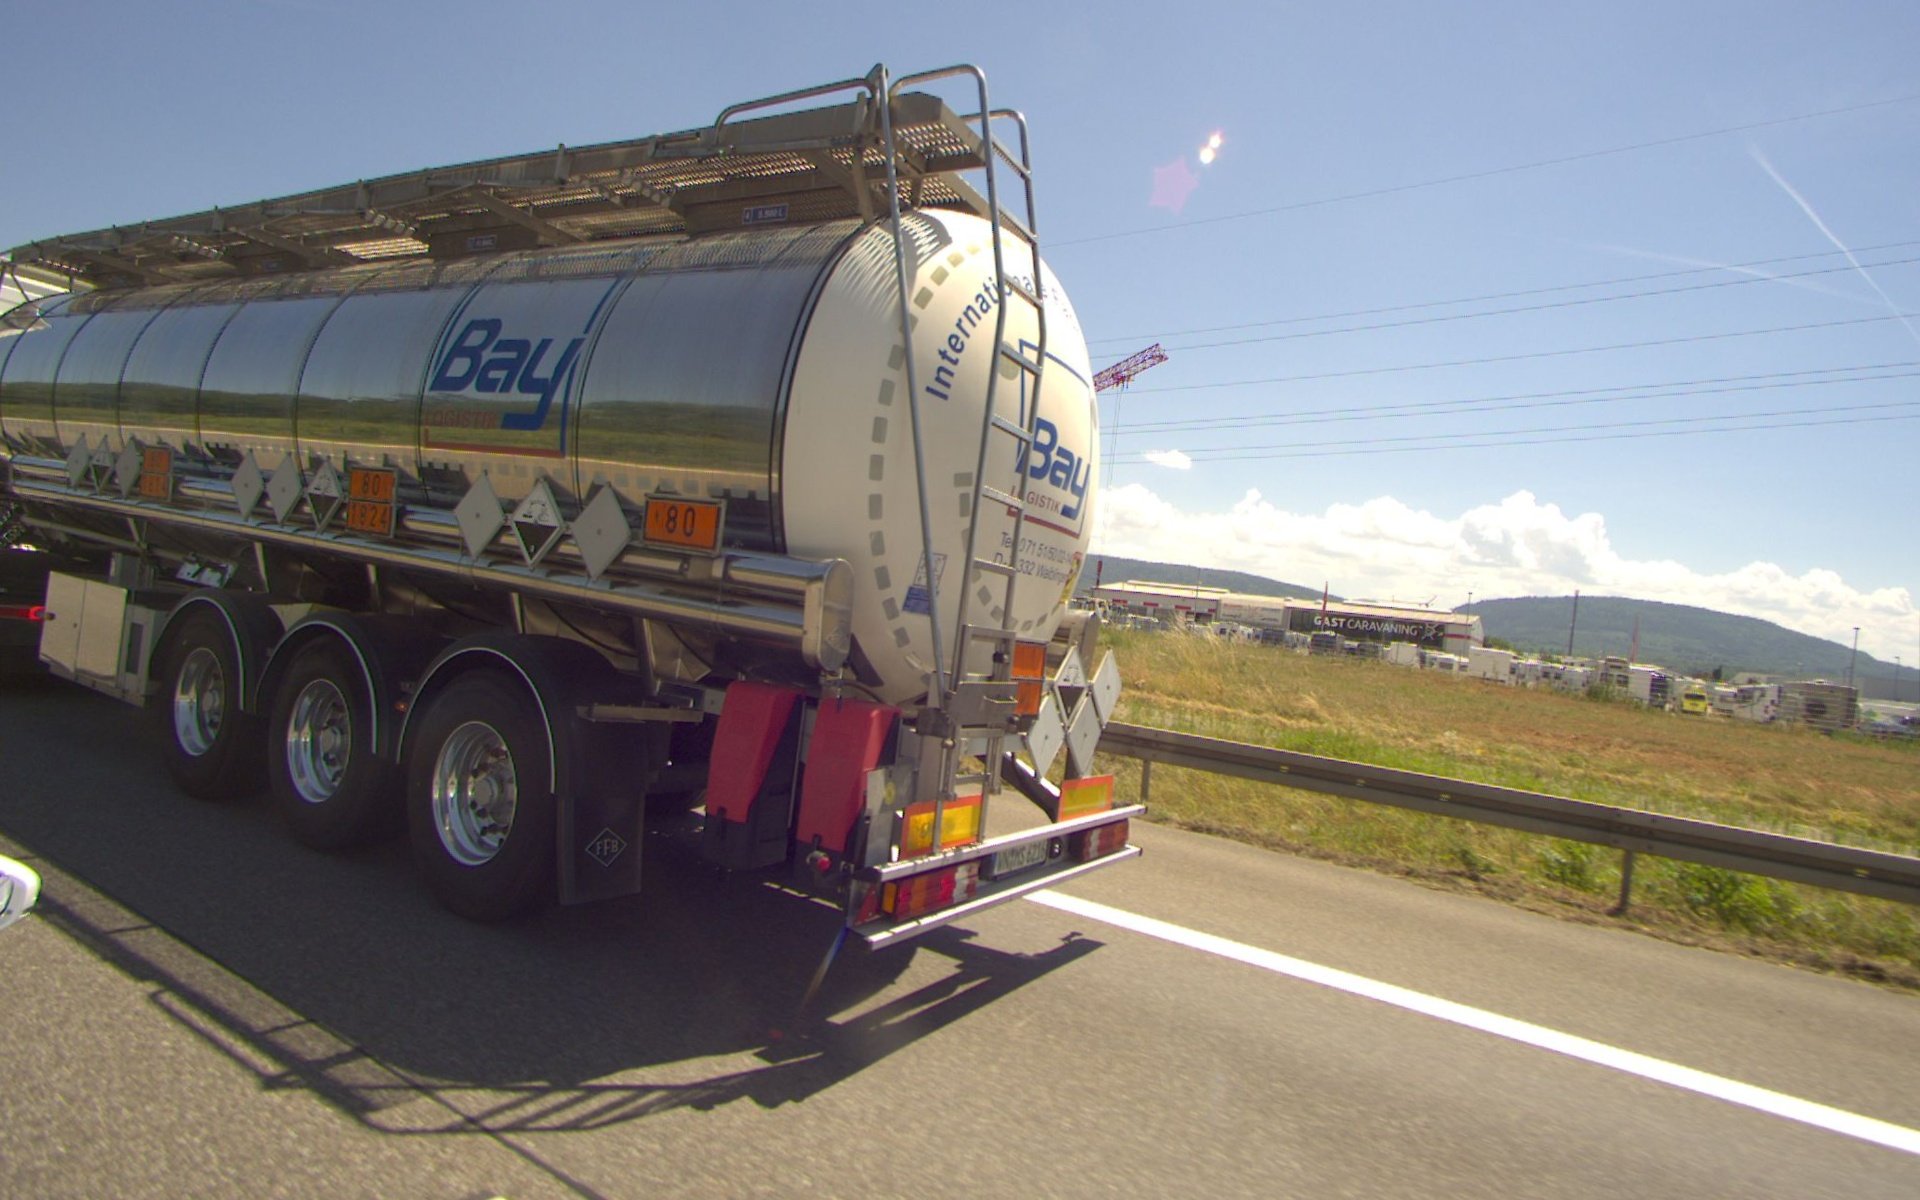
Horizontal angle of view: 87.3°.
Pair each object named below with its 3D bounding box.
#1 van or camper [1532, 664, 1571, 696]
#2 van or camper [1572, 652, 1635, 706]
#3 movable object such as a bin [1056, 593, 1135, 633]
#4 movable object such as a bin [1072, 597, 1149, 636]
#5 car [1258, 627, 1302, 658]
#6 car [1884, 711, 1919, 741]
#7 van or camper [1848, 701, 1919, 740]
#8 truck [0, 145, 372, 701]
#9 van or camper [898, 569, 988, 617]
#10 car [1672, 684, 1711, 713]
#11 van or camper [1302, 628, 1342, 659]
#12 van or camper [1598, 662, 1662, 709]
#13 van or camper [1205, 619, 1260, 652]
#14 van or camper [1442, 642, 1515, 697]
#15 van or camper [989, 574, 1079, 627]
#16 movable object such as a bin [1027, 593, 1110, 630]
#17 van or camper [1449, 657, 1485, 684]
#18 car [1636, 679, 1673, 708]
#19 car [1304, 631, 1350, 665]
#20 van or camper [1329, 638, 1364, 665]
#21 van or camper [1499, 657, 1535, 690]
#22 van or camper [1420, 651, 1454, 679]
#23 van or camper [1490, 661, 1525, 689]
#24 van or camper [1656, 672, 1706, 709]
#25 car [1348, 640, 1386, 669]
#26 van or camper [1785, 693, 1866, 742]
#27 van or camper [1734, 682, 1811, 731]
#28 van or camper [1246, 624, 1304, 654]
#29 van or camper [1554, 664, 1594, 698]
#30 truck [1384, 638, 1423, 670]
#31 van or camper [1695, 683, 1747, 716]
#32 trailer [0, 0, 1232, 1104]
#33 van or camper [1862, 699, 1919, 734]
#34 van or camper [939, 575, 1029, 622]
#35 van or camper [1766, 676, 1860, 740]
[{"bbox_3d":[51.144,6.864,87.024,2.336,2.322,5.267,7,0,27],"label":"van or camper"},{"bbox_3d":[37.682,4.603,59.045,2.572,2.711,5.264,7,0,30],"label":"van or camper"},{"bbox_3d":[12.987,1.245,96.488,6.695,3.068,2.914,6,1,32],"label":"movable object such as a bin"},{"bbox_3d":[14.922,1.638,99.764,6.695,3.068,2.914,6,1,32],"label":"movable object such as a bin"},{"bbox_3d":[26.613,3.551,83.560,2.209,2.272,4.902,7,0,31],"label":"car"},{"bbox_3d":[76.630,10.222,81.008,2.110,2.039,4.276,7,0,28],"label":"car"},{"bbox_3d":[87.823,11.386,94.517,2.464,2.776,5.939,6,0,-14],"label":"van or camper"},{"bbox_3d":[-9.241,-1.515,10.199,6.286,4.119,2.578,7,-1,31],"label":"truck"},{"bbox_3d":[-1.000,-0.413,63.908,2.560,2.432,6.120,7,0,33],"label":"van or camper"},{"bbox_3d":[59.693,8.006,82.135,1.893,2.011,3.994,7,0,29],"label":"car"},{"bbox_3d":[34.962,4.204,97.046,2.397,2.585,5.834,7,0,31],"label":"van or camper"},{"bbox_3d":[46.598,5.881,70.098,2.570,2.799,5.269,7,0,24],"label":"van or camper"},{"bbox_3d":[23.172,3.035,85.347,2.760,2.382,5.943,7,0,31],"label":"van or camper"},{"bbox_3d":[31.073,4.133,60.162,3.269,2.711,6.359,7,0,31],"label":"van or camper"},{"bbox_3d":[4.527,0.065,60.314,2.398,2.585,6.346,7,0,33],"label":"van or camper"},{"bbox_3d":[9.755,1.016,91.063,6.695,2.587,2.914,6,1,32],"label":"movable object such as a bin"},{"bbox_3d":[46.381,6.443,91.967,2.397,2.093,5.834,7,0,31],"label":"van or camper"},{"bbox_3d":[57.160,7.677,82.829,1.893,2.011,3.994,7,0,29],"label":"car"},{"bbox_3d":[29.501,3.900,80.728,2.397,2.388,5.112,7,0,31],"label":"car"},{"bbox_3d":[41.027,5.432,106.683,2.600,2.485,5.947,7,0,28],"label":"van or camper"},{"bbox_3d":[53.734,7.092,97.163,2.600,2.766,5.947,7,0,28],"label":"van or camper"},{"bbox_3d":[48.258,6.550,101.791,2.600,2.485,5.947,7,0,28],"label":"van or camper"},{"bbox_3d":[48.735,6.678,89.511,2.397,2.093,5.834,7,0,31],"label":"van or camper"},{"bbox_3d":[64.711,8.085,90.414,2.600,2.766,5.947,7,0,28],"label":"van or camper"},{"bbox_3d":[38.544,5.145,95.211,2.397,2.388,5.112,7,0,31],"label":"car"},{"bbox_3d":[57.296,7.701,66.739,2.377,2.588,5.326,7,0,24],"label":"van or camper"},{"bbox_3d":[53.292,6.924,66.127,2.377,2.588,5.326,7,0,24],"label":"van or camper"},{"bbox_3d":[31.006,3.828,98.970,4.857,2.416,2.158,7,1,33],"label":"van or camper"},{"bbox_3d":[57.960,7.605,95.100,2.600,2.766,5.947,7,0,28],"label":"van or camper"},{"bbox_3d":[41.140,5.046,93.138,2.397,2.565,5.834,7,0,31],"label":"truck"},{"bbox_3d":[67.472,8.760,89.315,2.461,2.415,5.947,7,0,28],"label":"van or camper"},{"bbox_3d":[-4.100,-0.919,7.035,10.918,4.121,2.585,7,-1,31],"label":"trailer"},{"bbox_3d":[92.972,11.567,98.461,2.488,2.776,6.569,6,1,-44],"label":"van or camper"},{"bbox_3d":[1.581,-0.046,62.347,2.560,2.248,6.120,7,0,33],"label":"van or camper"},{"bbox_3d":[45.413,5.672,53.752,2.381,2.801,6.454,7,0,30],"label":"van or camper"}]
